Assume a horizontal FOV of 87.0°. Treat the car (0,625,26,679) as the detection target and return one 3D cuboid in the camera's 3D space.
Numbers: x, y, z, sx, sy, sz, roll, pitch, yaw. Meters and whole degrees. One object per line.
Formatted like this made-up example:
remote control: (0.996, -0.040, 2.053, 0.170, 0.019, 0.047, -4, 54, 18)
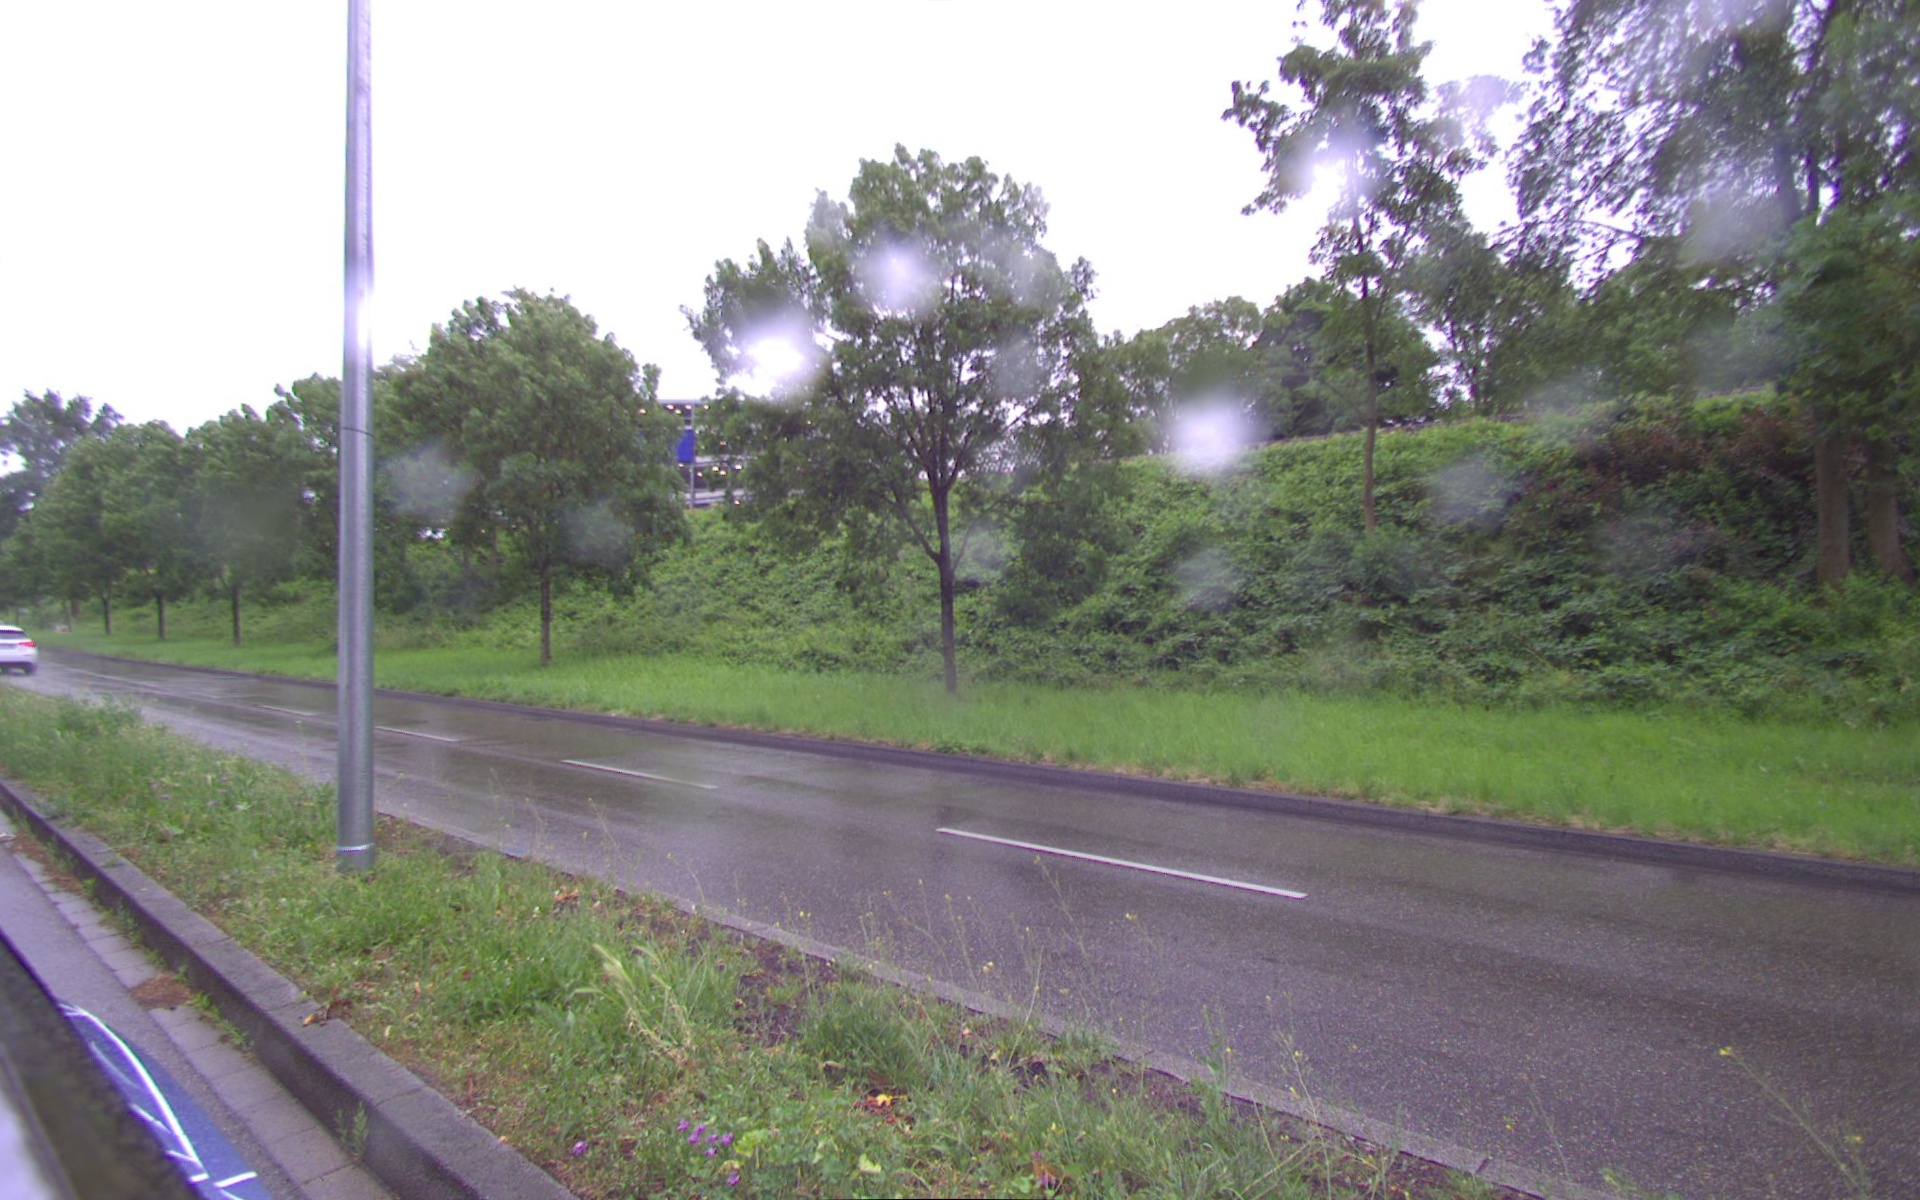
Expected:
car: (-29.586, 1.513, 30.425, 4.045, 1.531, 1.716, 0, -4, 41)
